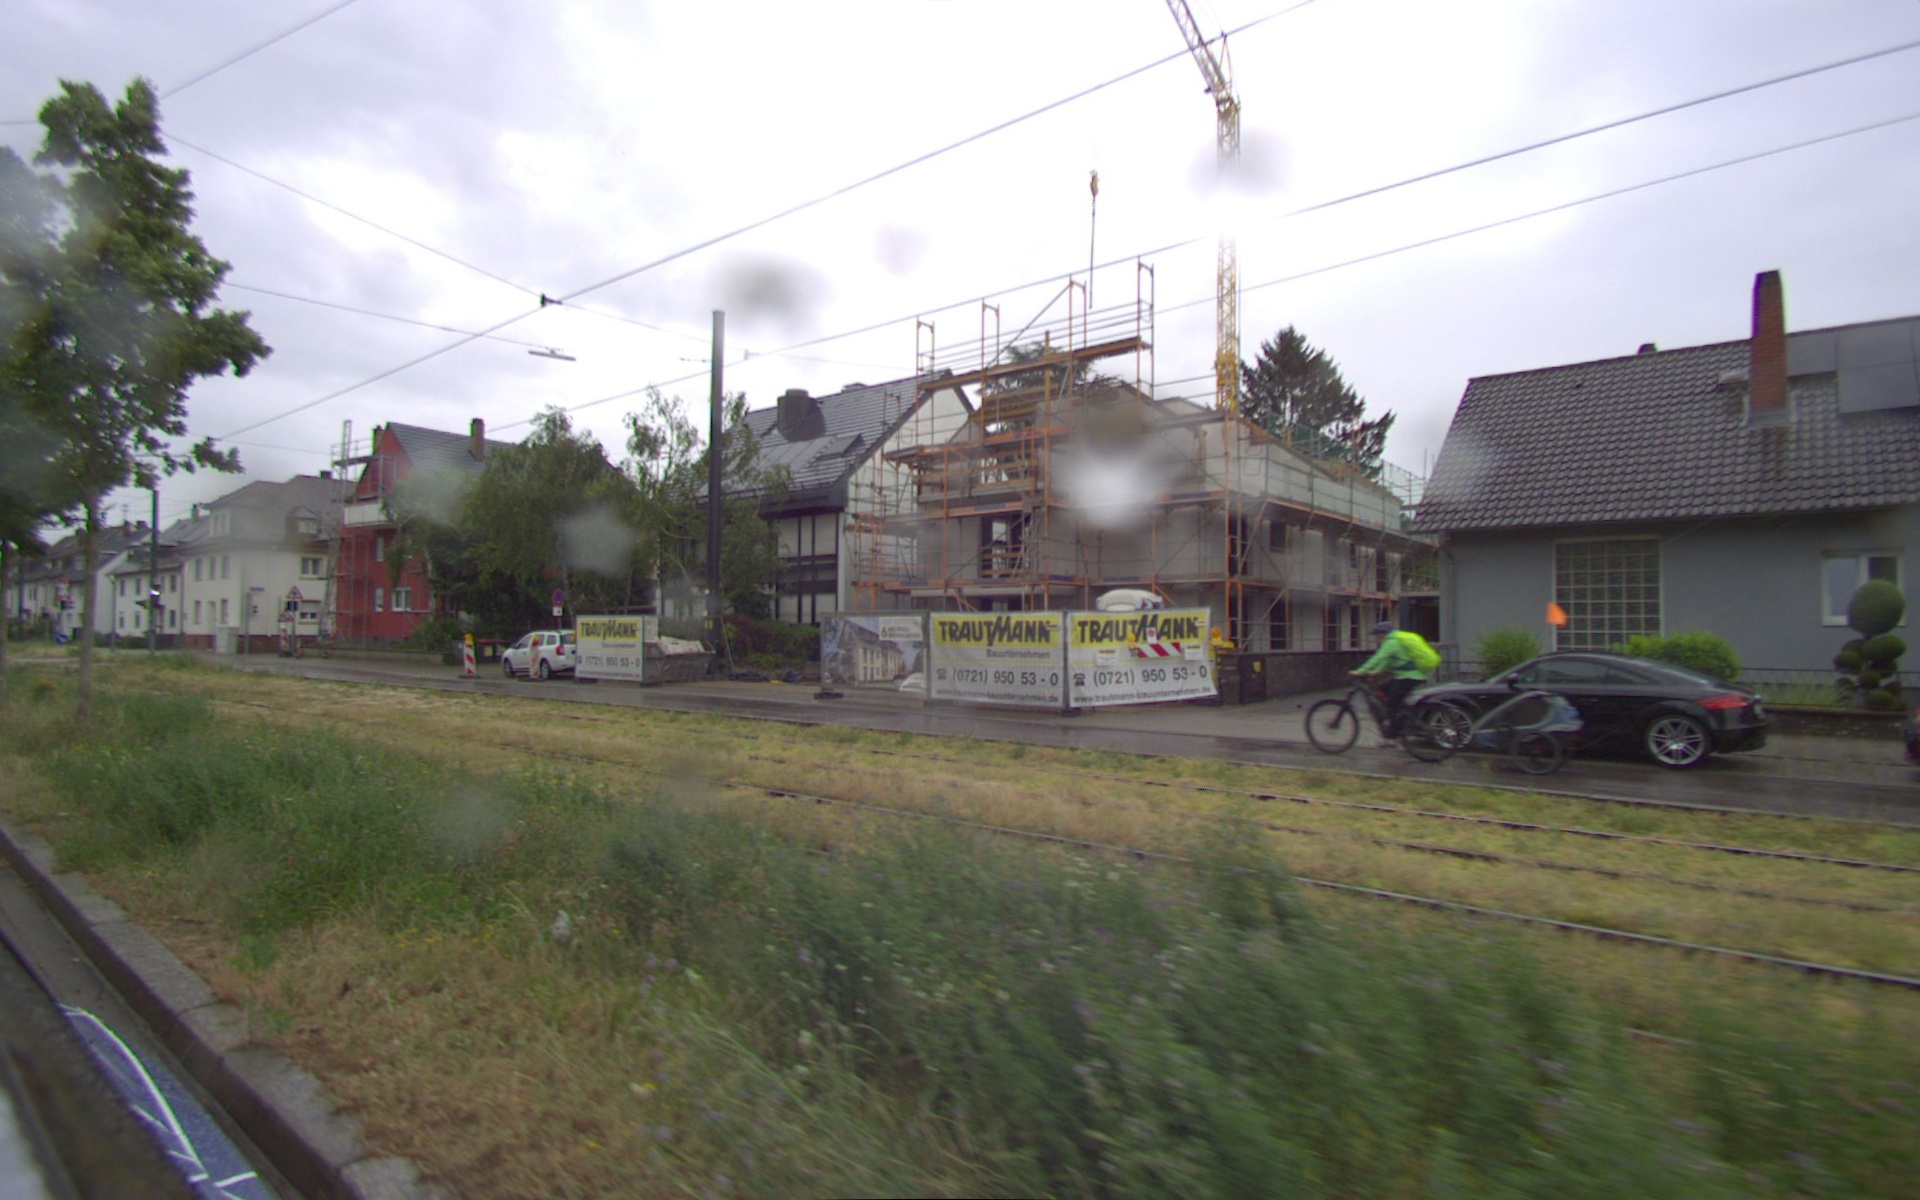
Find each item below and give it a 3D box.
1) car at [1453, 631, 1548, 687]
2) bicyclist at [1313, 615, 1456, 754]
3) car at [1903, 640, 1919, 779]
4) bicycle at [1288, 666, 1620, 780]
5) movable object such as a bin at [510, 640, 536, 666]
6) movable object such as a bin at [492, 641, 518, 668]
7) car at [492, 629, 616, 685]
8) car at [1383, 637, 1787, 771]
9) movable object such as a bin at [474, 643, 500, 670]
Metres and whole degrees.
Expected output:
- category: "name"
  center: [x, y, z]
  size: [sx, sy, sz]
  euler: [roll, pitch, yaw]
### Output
- category: "car"
  center: [16.353, 1.725, 30.562]
  size: [1.793, 1.497, 3.947]
  euler: [-1, -1, 39]
- category: "bicyclist"
  center: [5.207, 0.980, 12.432]
  size: [1.399, 1.596, 0.943]
  euler: [-1, -1, 41]
- category: "car"
  center: [11.928, 1.143, 9.889]
  size: [3.841, 1.383, 1.973]
  euler: [-1, -1, 40]
- category: "bicycle"
  center: [5.734, 1.374, 12.007]
  size: [3.431, 1.051, 0.925]
  euler: [-1, -2, 40]
- category: "movable object such as a bin"
  center: [-20.005, 2.426, 46.342]
  size: [0.821, 1.156, 0.802]
  euler: [-1, -1, 41]
- category: "movable object such as a bin"
  center: [-20.536, 2.457, 45.704]
  size: [0.821, 1.156, 0.802]
  euler: [-1, -1, 41]
- category: "car"
  center: [-13.325, 1.801, 33.135]
  size: [4.246, 1.640, 1.974]
  euler: [-1, -1, 39]
- category: "car"
  center: [7.980, 1.251, 13.123]
  size: [4.171, 1.420, 1.973]
  euler: [-3, -3, 40]
- category: "movable object such as a bin"
  center: [-21.078, 2.518, 45.114]
  size: [0.821, 1.156, 0.802]
  euler: [-1, -1, 41]
